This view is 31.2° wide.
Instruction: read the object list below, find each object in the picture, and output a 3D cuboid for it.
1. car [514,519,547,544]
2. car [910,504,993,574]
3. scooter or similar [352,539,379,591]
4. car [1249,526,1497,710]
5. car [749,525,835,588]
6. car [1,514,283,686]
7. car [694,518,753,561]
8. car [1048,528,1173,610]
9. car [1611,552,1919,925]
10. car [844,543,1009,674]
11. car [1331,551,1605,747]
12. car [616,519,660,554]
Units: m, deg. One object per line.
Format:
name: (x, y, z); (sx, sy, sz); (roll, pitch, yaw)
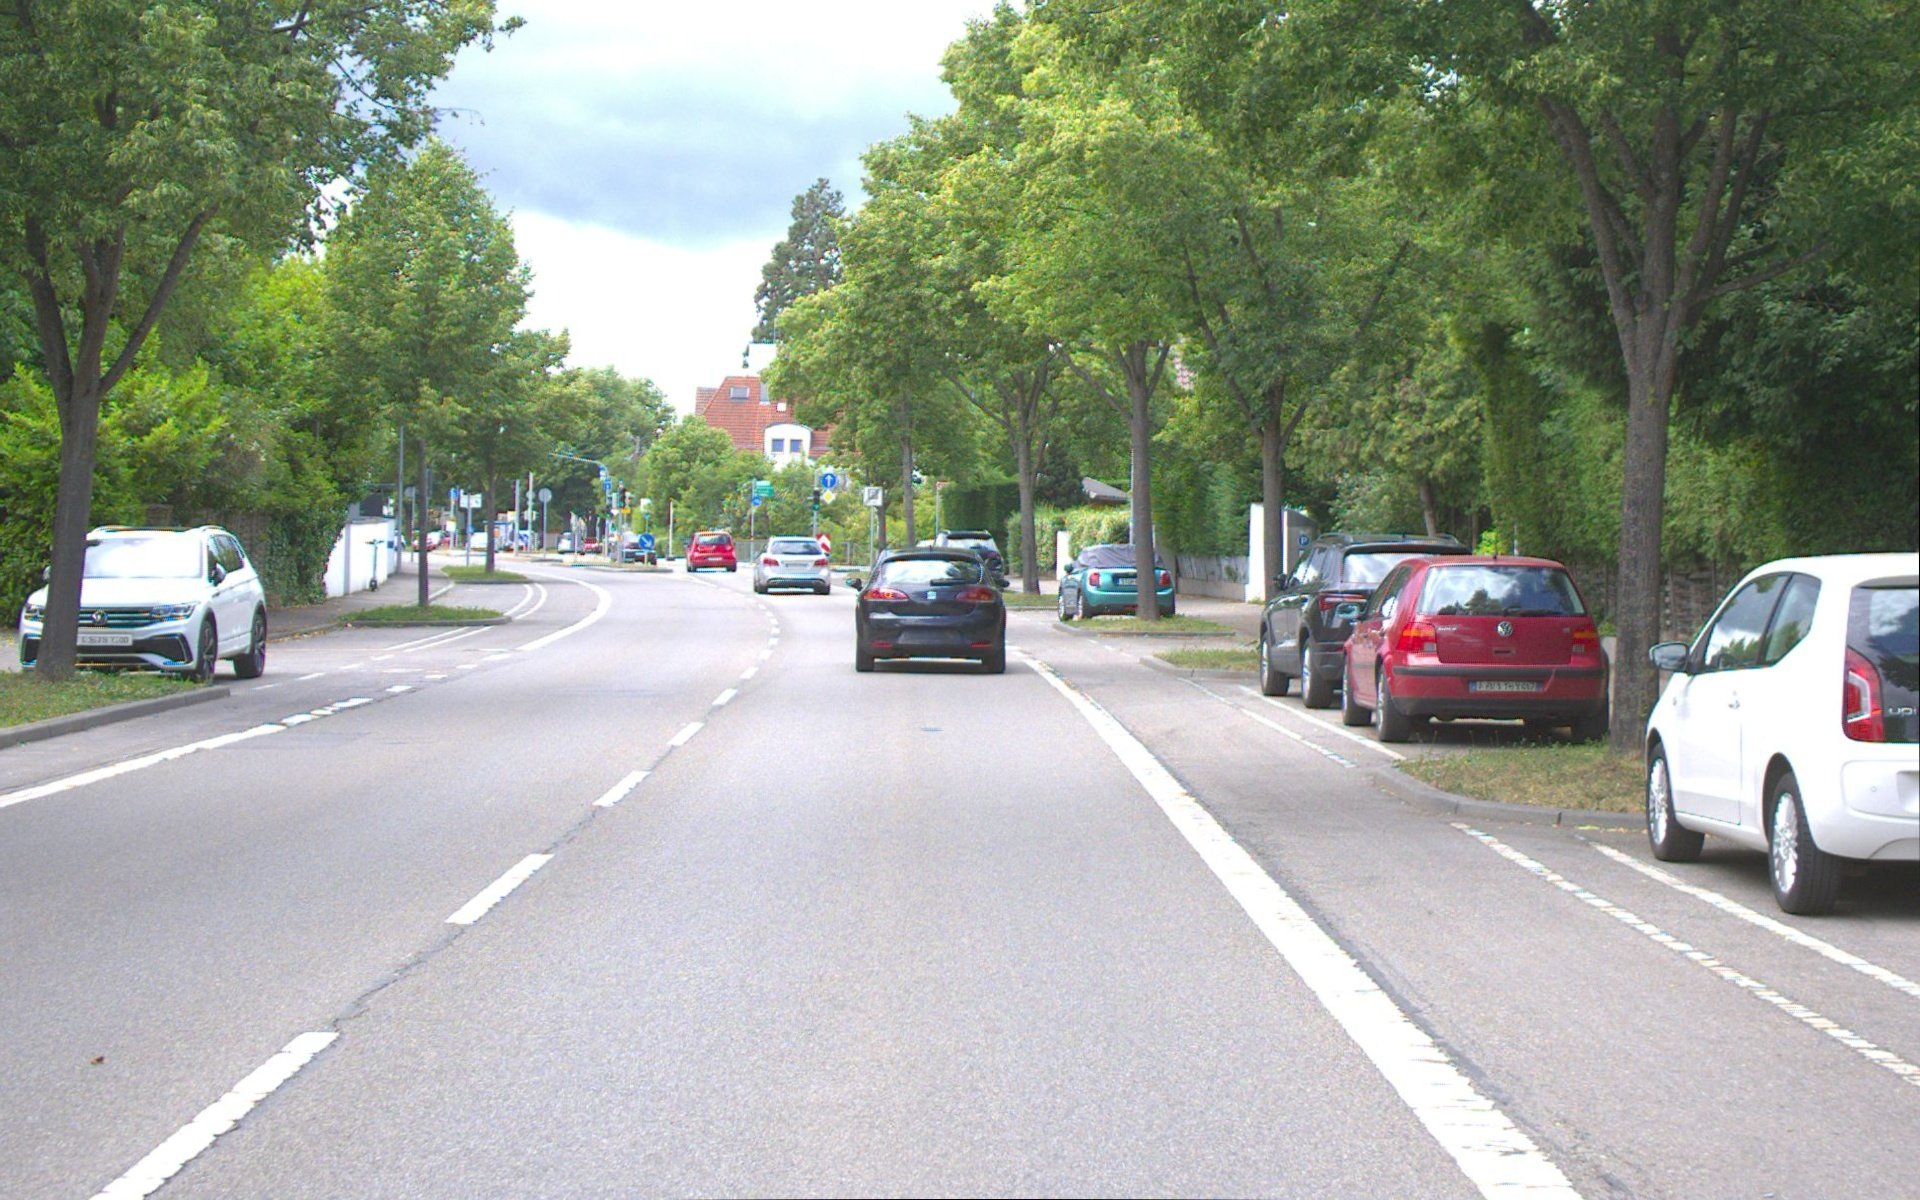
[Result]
car: (-29.300, -4.683, 234.458); (1.973, 1.670, 3.877); (1, 1, -4)
car: (-0.244, -1.578, 89.737); (1.788, 1.765, 3.983); (1, 1, -5)
scooter or similar: (-13.501, -0.804, 78.131); (0.501, 1.150, 1.301); (1, 1, -6)
car: (3.868, 0.122, 32.780); (1.638, 1.610, 4.170); (1, 1, -3)
car: (-4.359, -1.099, 88.767); (1.993, 1.552, 4.001); (0, 0, -6)
car: (-8.539, -0.045, 36.295); (1.873, 1.682, 4.866); (0, 1, -1)
car: (-8.545, -2.182, 123.847); (1.993, 1.525, 4.001); (0, 1, -6)
car: (2.691, -0.584, 62.303); (1.683, 1.427, 4.045); (0, 1, -6)
car: (4.094, 0.525, 15.403); (1.615, 1.455, 3.657); (0, 1, -1)
car: (-0.439, 0.070, 40.197); (1.783, 1.444, 3.558); (1, 1, -3)
car: (3.954, 0.329, 27.304); (1.638, 1.415, 4.000); (0, 1, 1)
car: (-14.868, -2.922, 158.765); (1.993, 1.503, 4.001); (1, 0, -5)
